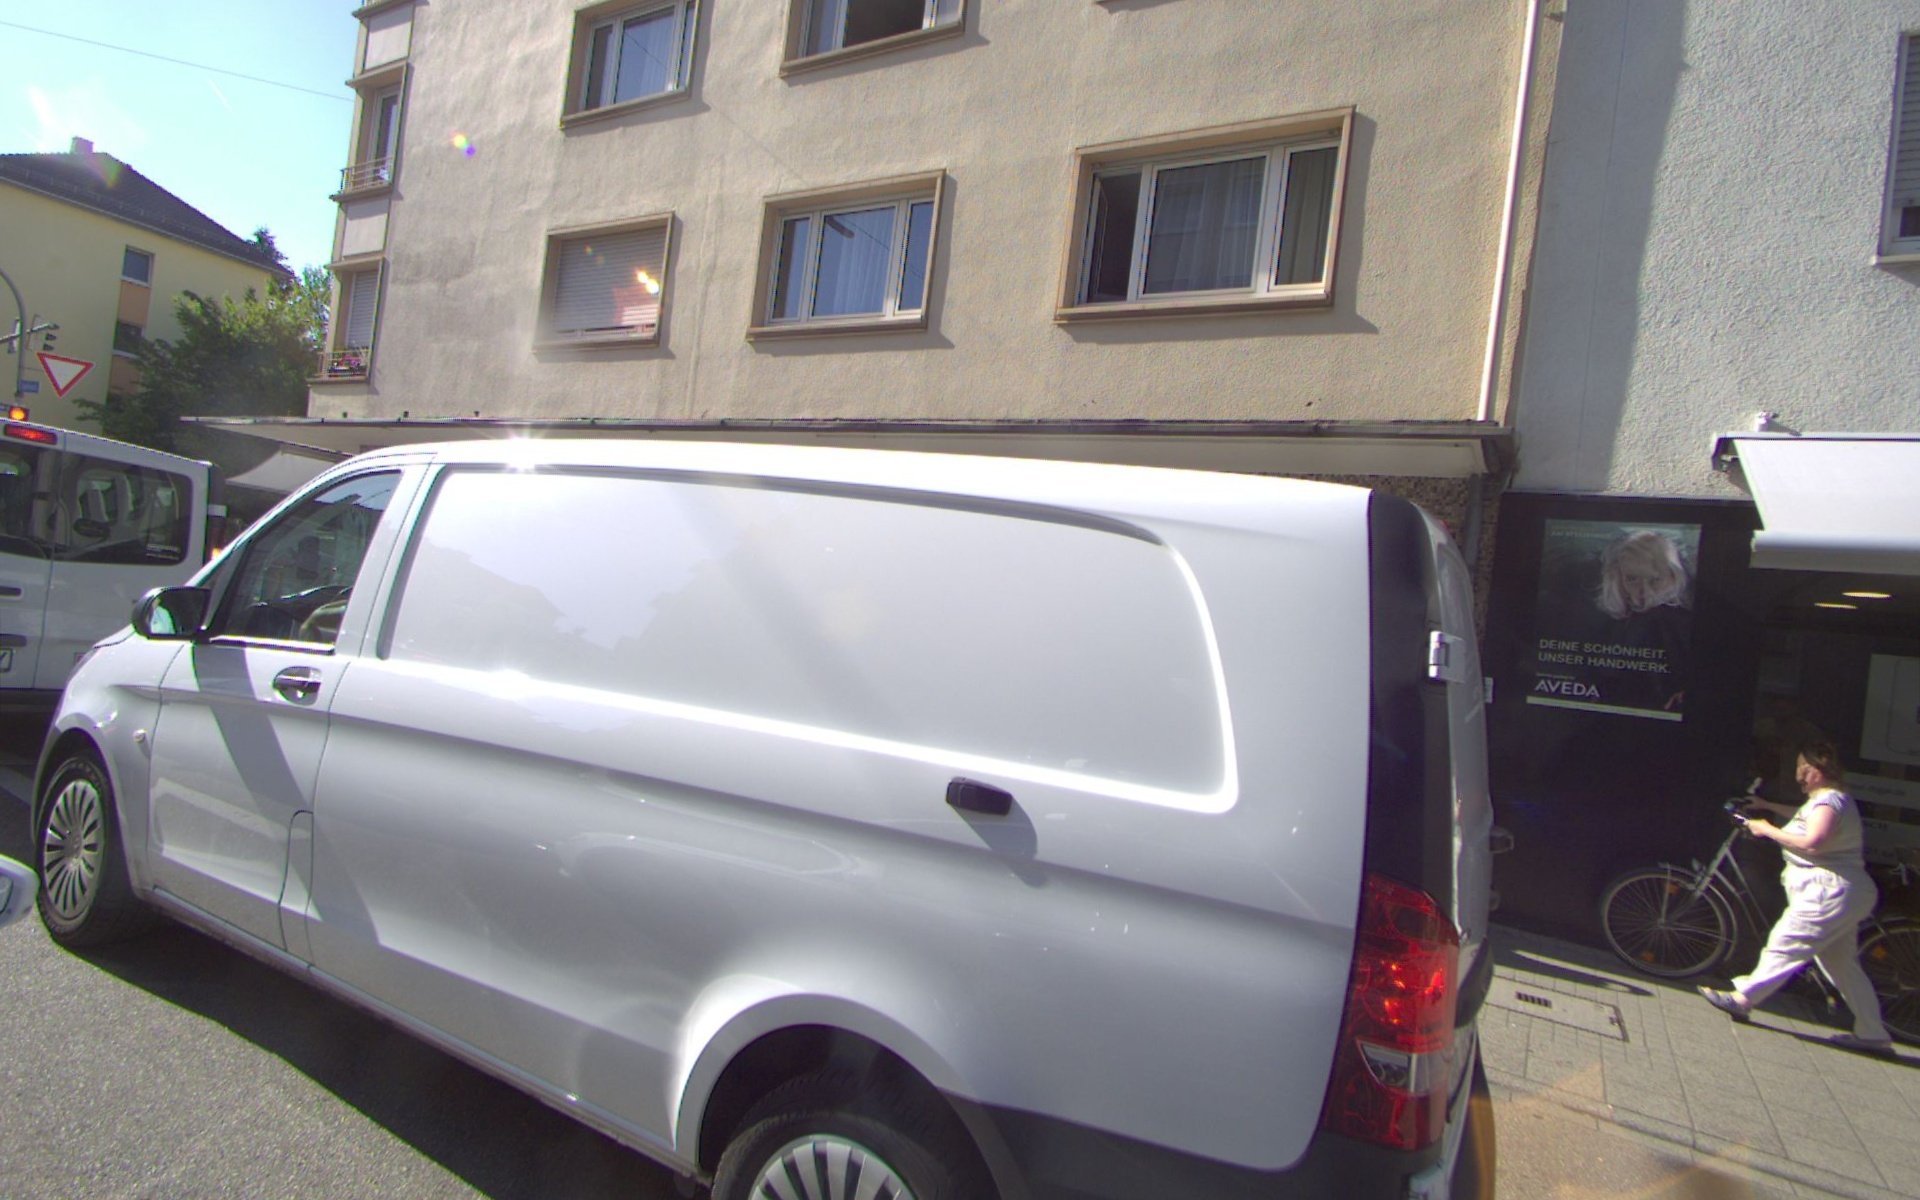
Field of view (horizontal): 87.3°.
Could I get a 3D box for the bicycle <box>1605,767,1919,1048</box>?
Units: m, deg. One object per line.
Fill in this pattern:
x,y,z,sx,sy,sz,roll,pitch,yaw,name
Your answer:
4.636,1.661,5.487,1.763,1.148,0.401,7,3,32,bicycle

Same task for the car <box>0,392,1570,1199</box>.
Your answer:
-1.010,0.500,3.318,4.911,1.891,1.840,7,-1,29,car

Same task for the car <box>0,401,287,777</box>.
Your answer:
-7.041,-0.250,6.894,4.813,2.001,1.998,7,-2,31,car

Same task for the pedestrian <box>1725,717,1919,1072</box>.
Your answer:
4.720,1.482,5.237,0.931,1.559,0.823,7,3,31,pedestrian
